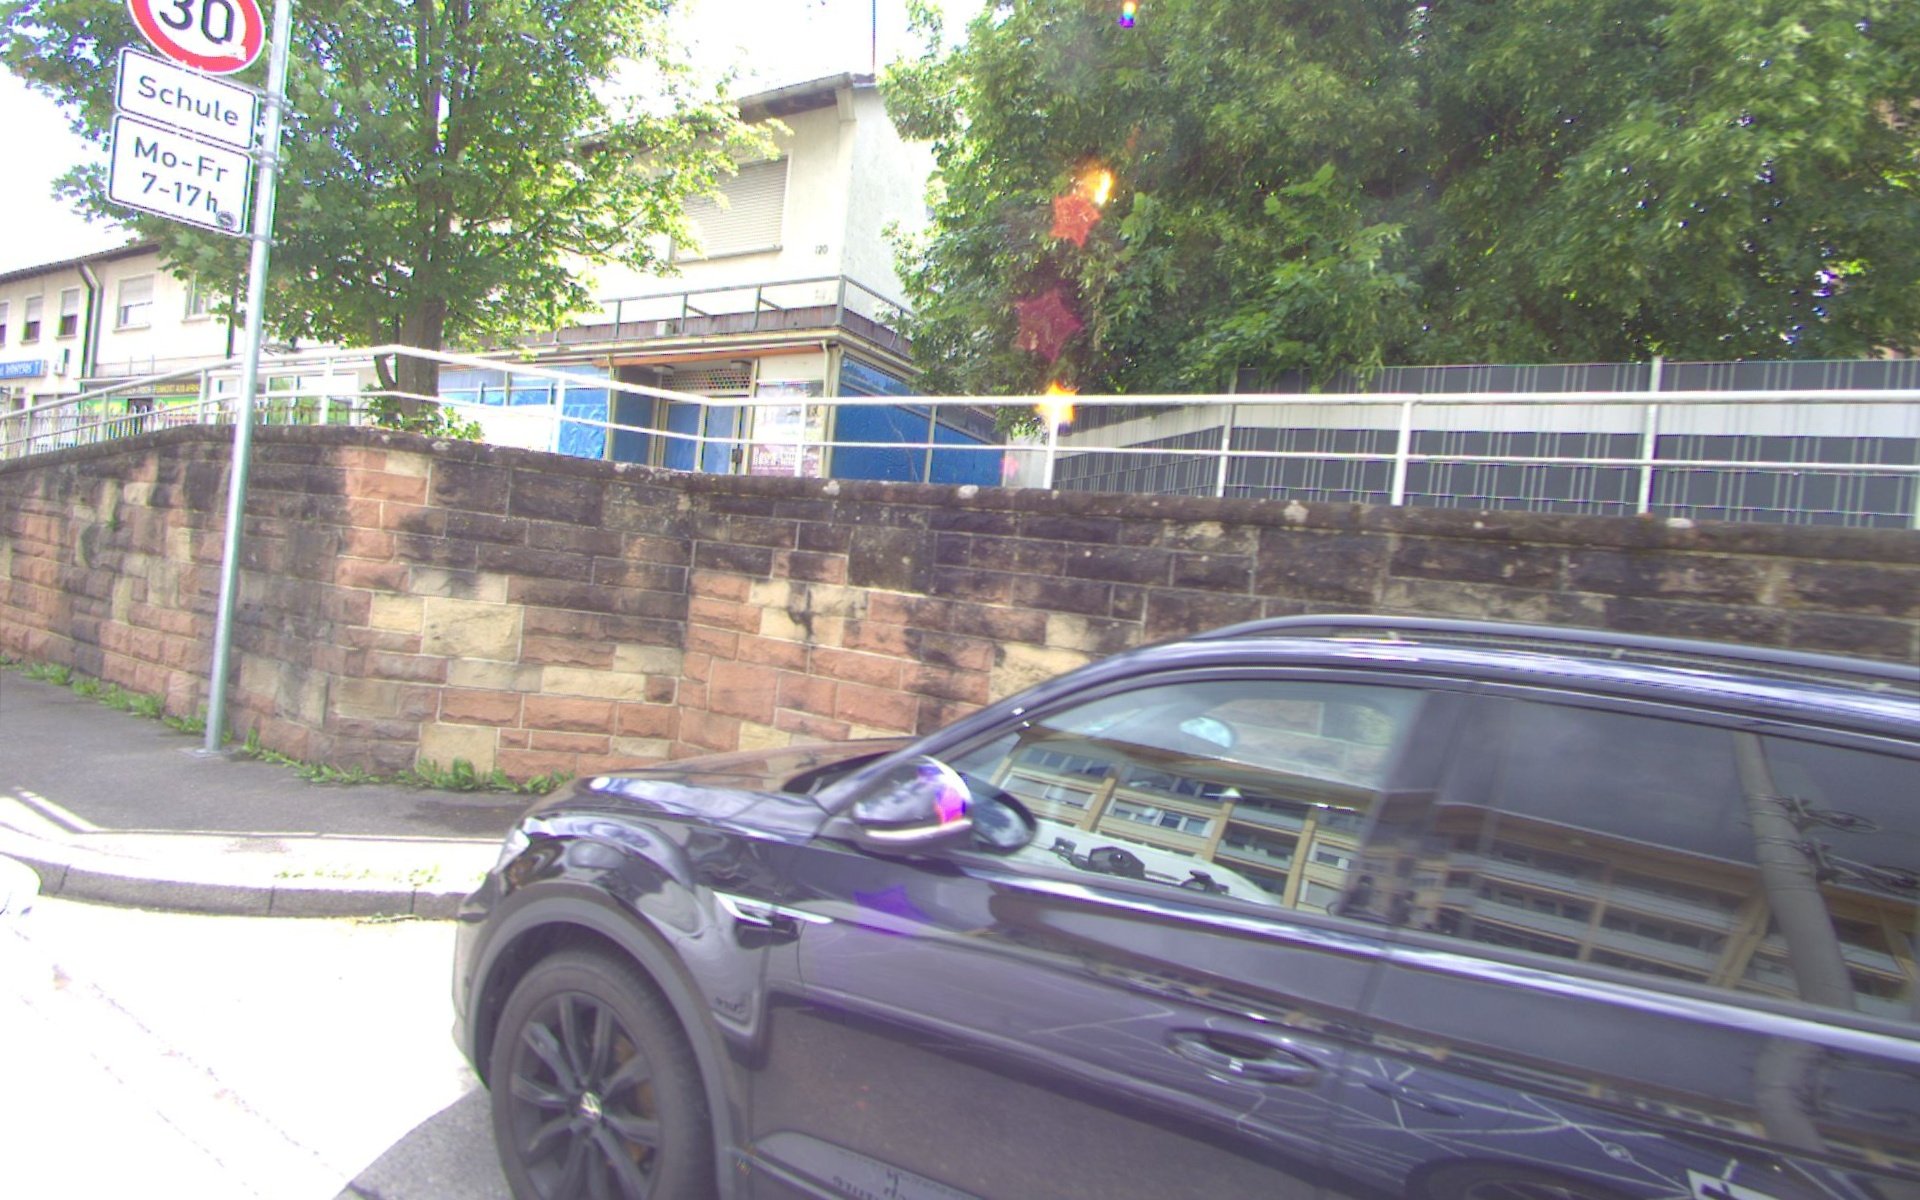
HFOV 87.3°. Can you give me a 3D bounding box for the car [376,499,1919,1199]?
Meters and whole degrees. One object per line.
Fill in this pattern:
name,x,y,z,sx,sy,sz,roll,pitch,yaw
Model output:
car,0.777,0.786,2.218,3.954,1.600,1.757,6,1,30
